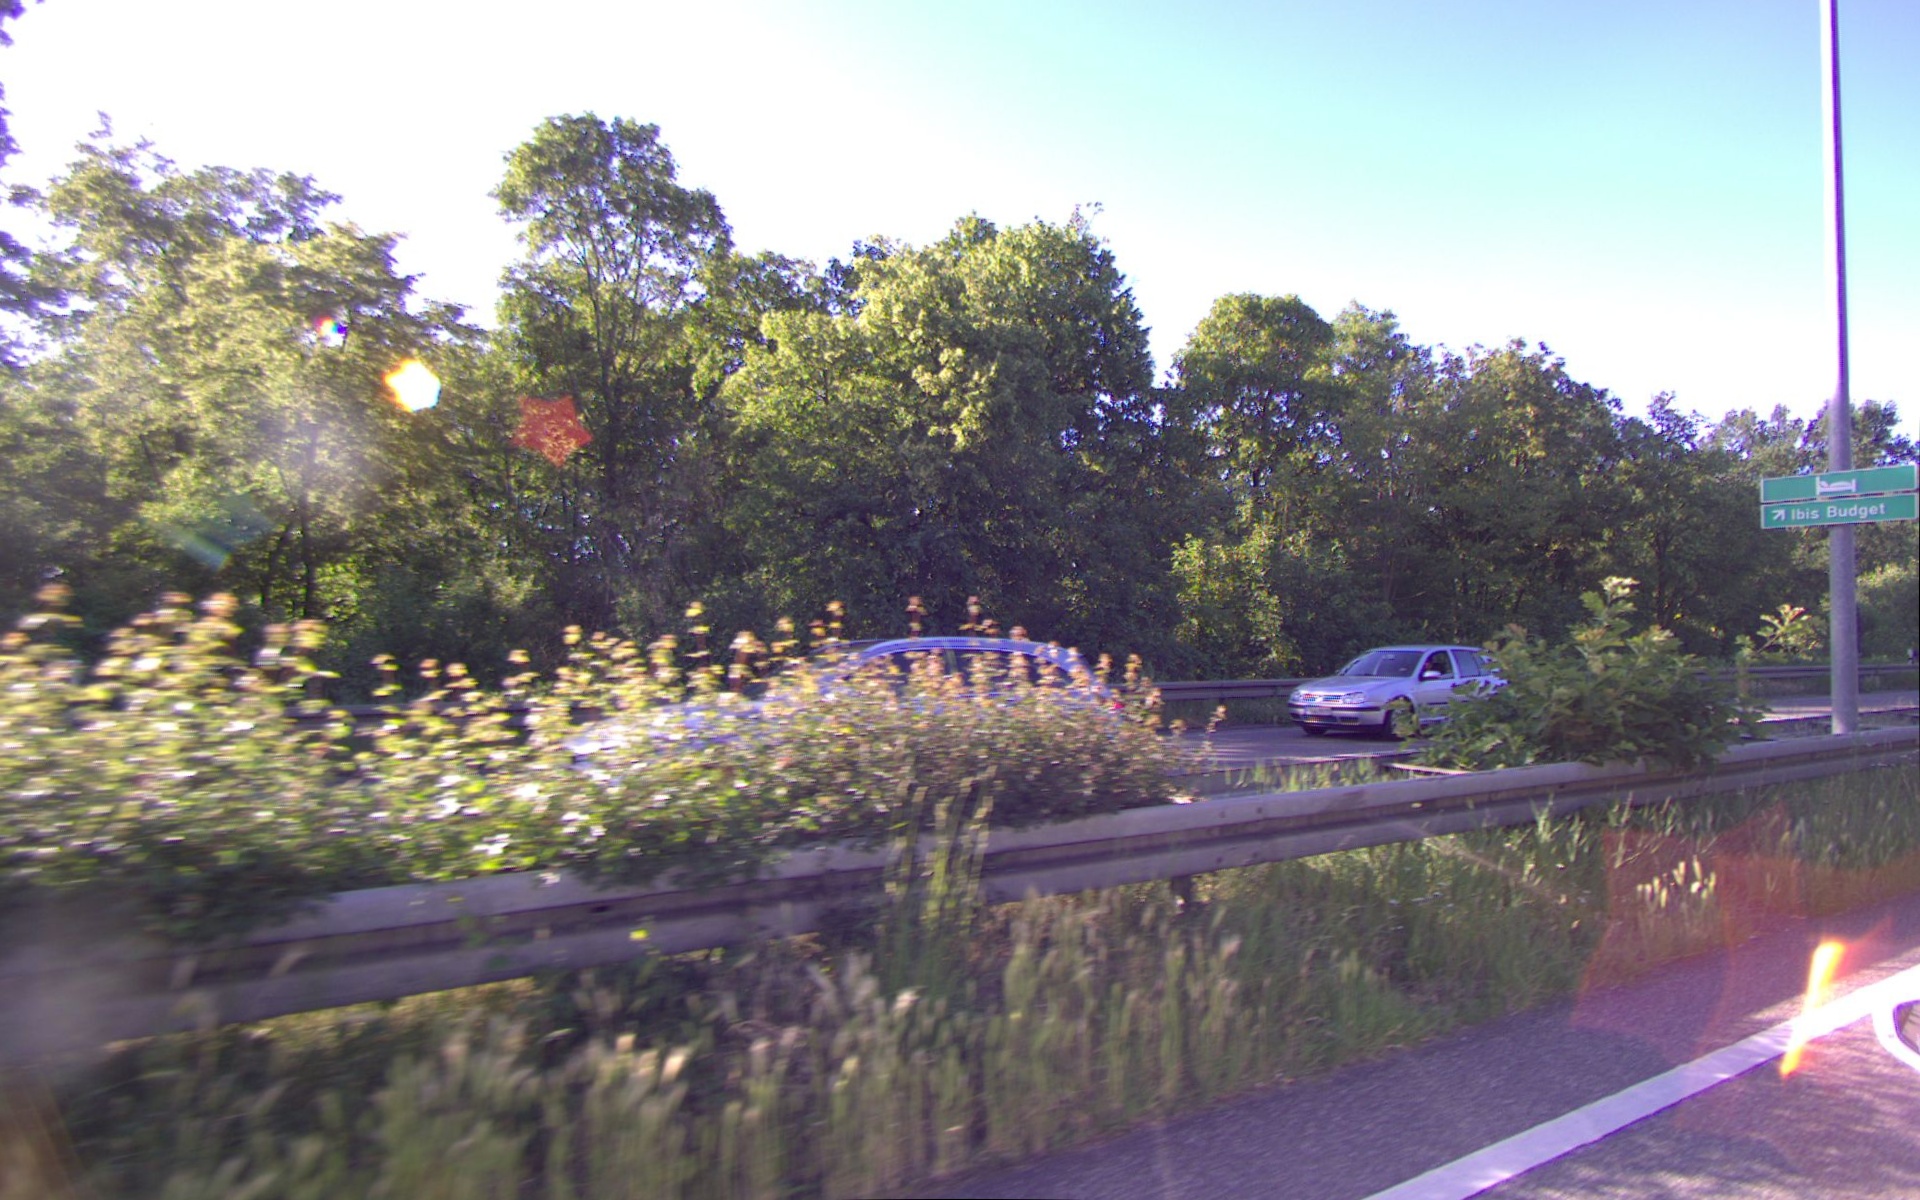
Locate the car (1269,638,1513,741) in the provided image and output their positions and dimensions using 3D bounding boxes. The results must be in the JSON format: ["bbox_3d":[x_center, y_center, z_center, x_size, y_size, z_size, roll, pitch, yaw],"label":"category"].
[{"bbox_3d":[6.928,1.369,16.104,3.670,1.469,1.743,1,-4,-30],"label":"car"}]

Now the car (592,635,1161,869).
[{"bbox_3d":[-0.564,1.028,8.265,4.383,1.469,1.742,1,-2,-32],"label":"car"}]
